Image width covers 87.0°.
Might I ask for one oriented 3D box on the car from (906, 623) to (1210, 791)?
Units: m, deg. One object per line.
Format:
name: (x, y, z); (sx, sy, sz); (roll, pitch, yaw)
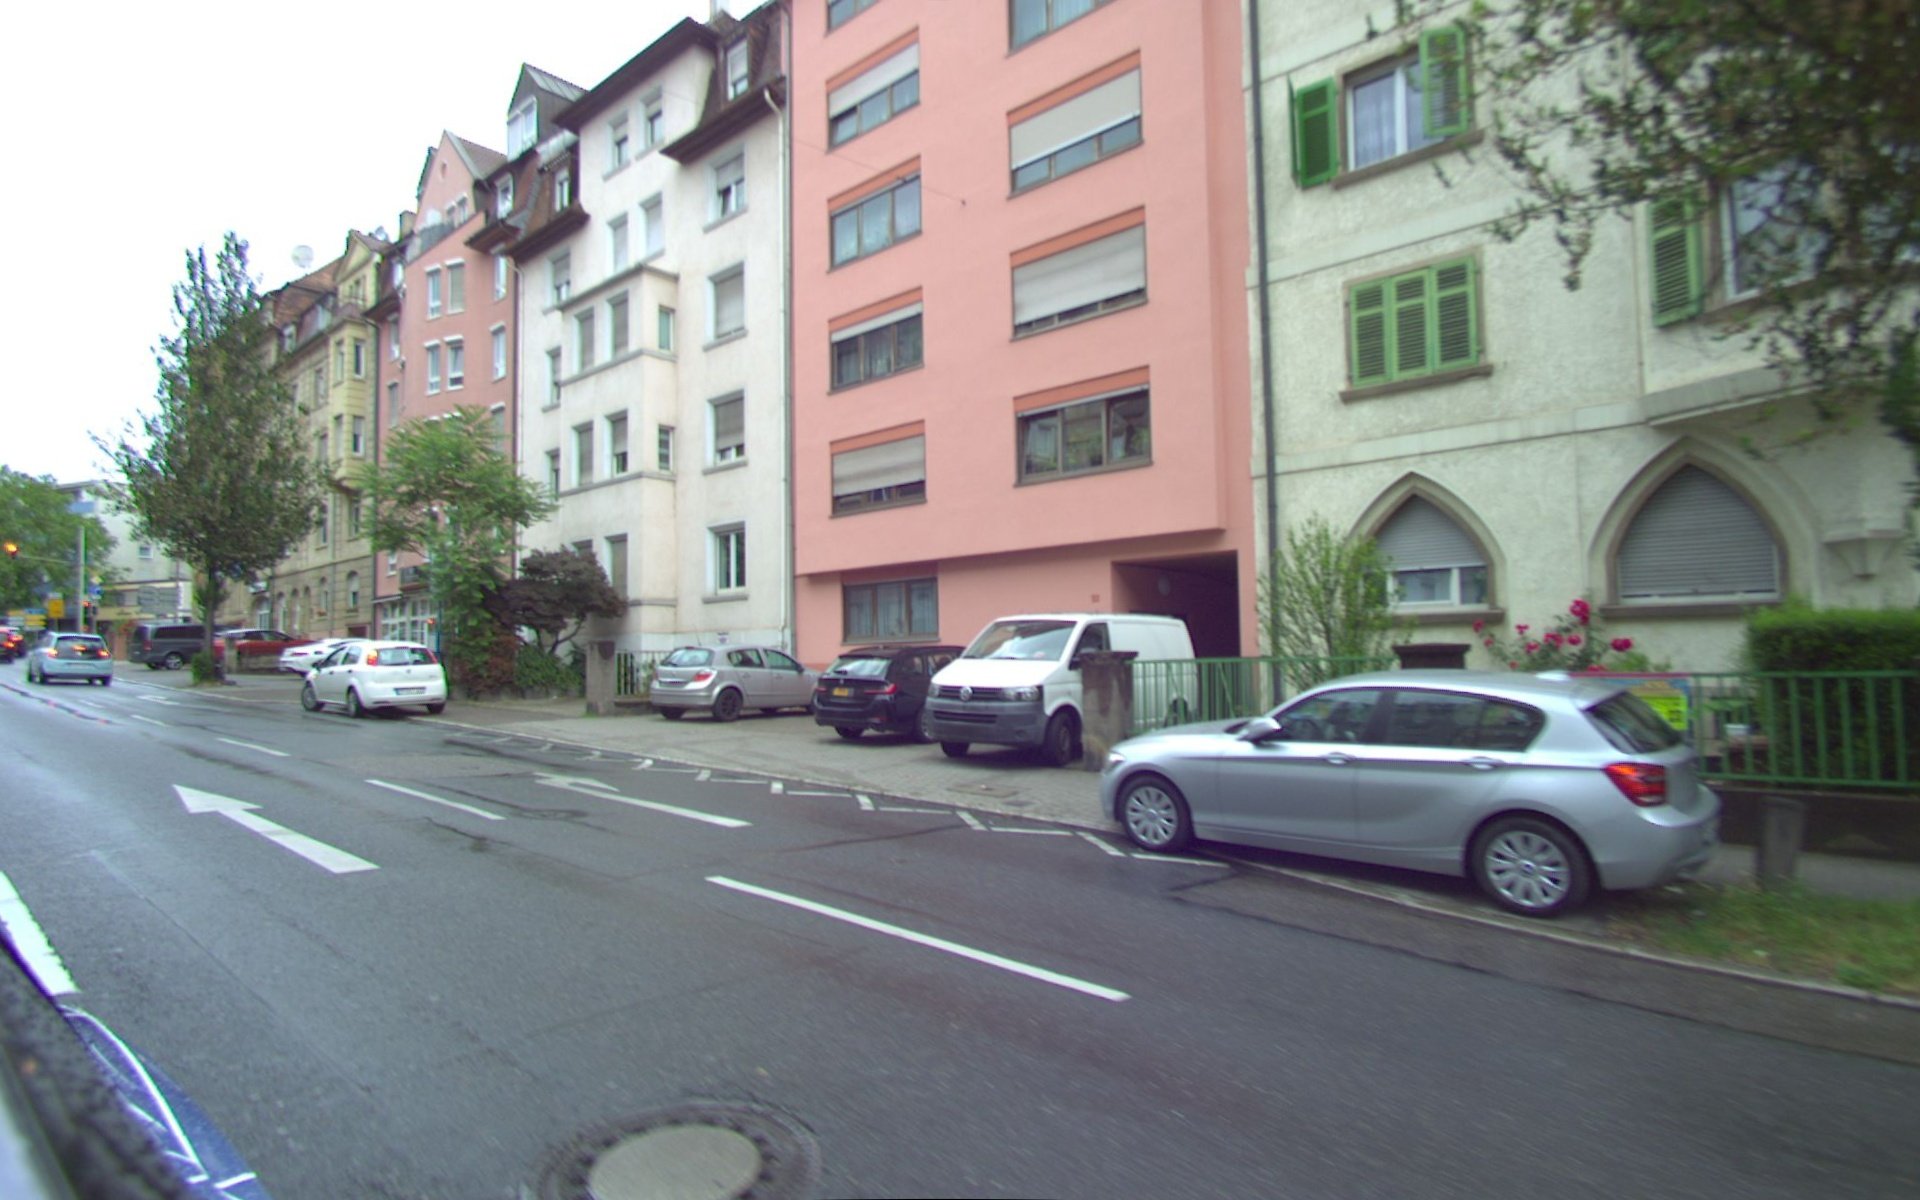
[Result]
car: (1.526, 1.281, 13.970); (1.917, 1.919, 4.672); (-1, -2, 39)

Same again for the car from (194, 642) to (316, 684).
car: (-29.353, 2.623, 42.236); (1.592, 1.634, 3.877); (-2, -4, 42)

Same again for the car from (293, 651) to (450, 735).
car: (-12.042, 1.817, 20.636); (3.650, 1.483, 1.648); (-1, -2, 41)

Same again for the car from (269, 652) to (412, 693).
car: (-21.279, 2.468, 34.875); (1.646, 1.307, 3.877); (-2, -4, 42)

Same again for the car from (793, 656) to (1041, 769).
car: (-0.559, 1.638, 15.829); (1.758, 1.408, 3.880); (-1, -2, 39)

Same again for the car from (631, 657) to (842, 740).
car: (-4.265, 1.859, 19.848); (1.722, 1.408, 3.885); (-1, -4, 35)

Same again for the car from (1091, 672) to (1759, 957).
car: (3.146, 1.283, 7.410); (4.136, 1.429, 1.663); (-2, -5, 42)

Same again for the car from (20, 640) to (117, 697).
car: (-26.979, 2.015, 30.593); (3.651, 1.560, 1.749); (-1, -2, 41)

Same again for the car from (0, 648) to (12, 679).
car: (-47.843, 3.111, 49.766); (3.654, 1.468, 1.646); (-1, -2, 45)

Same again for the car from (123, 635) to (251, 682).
car: (-32.194, 2.456, 42.239); (1.865, 1.861, 3.880); (-1, -4, 39)
